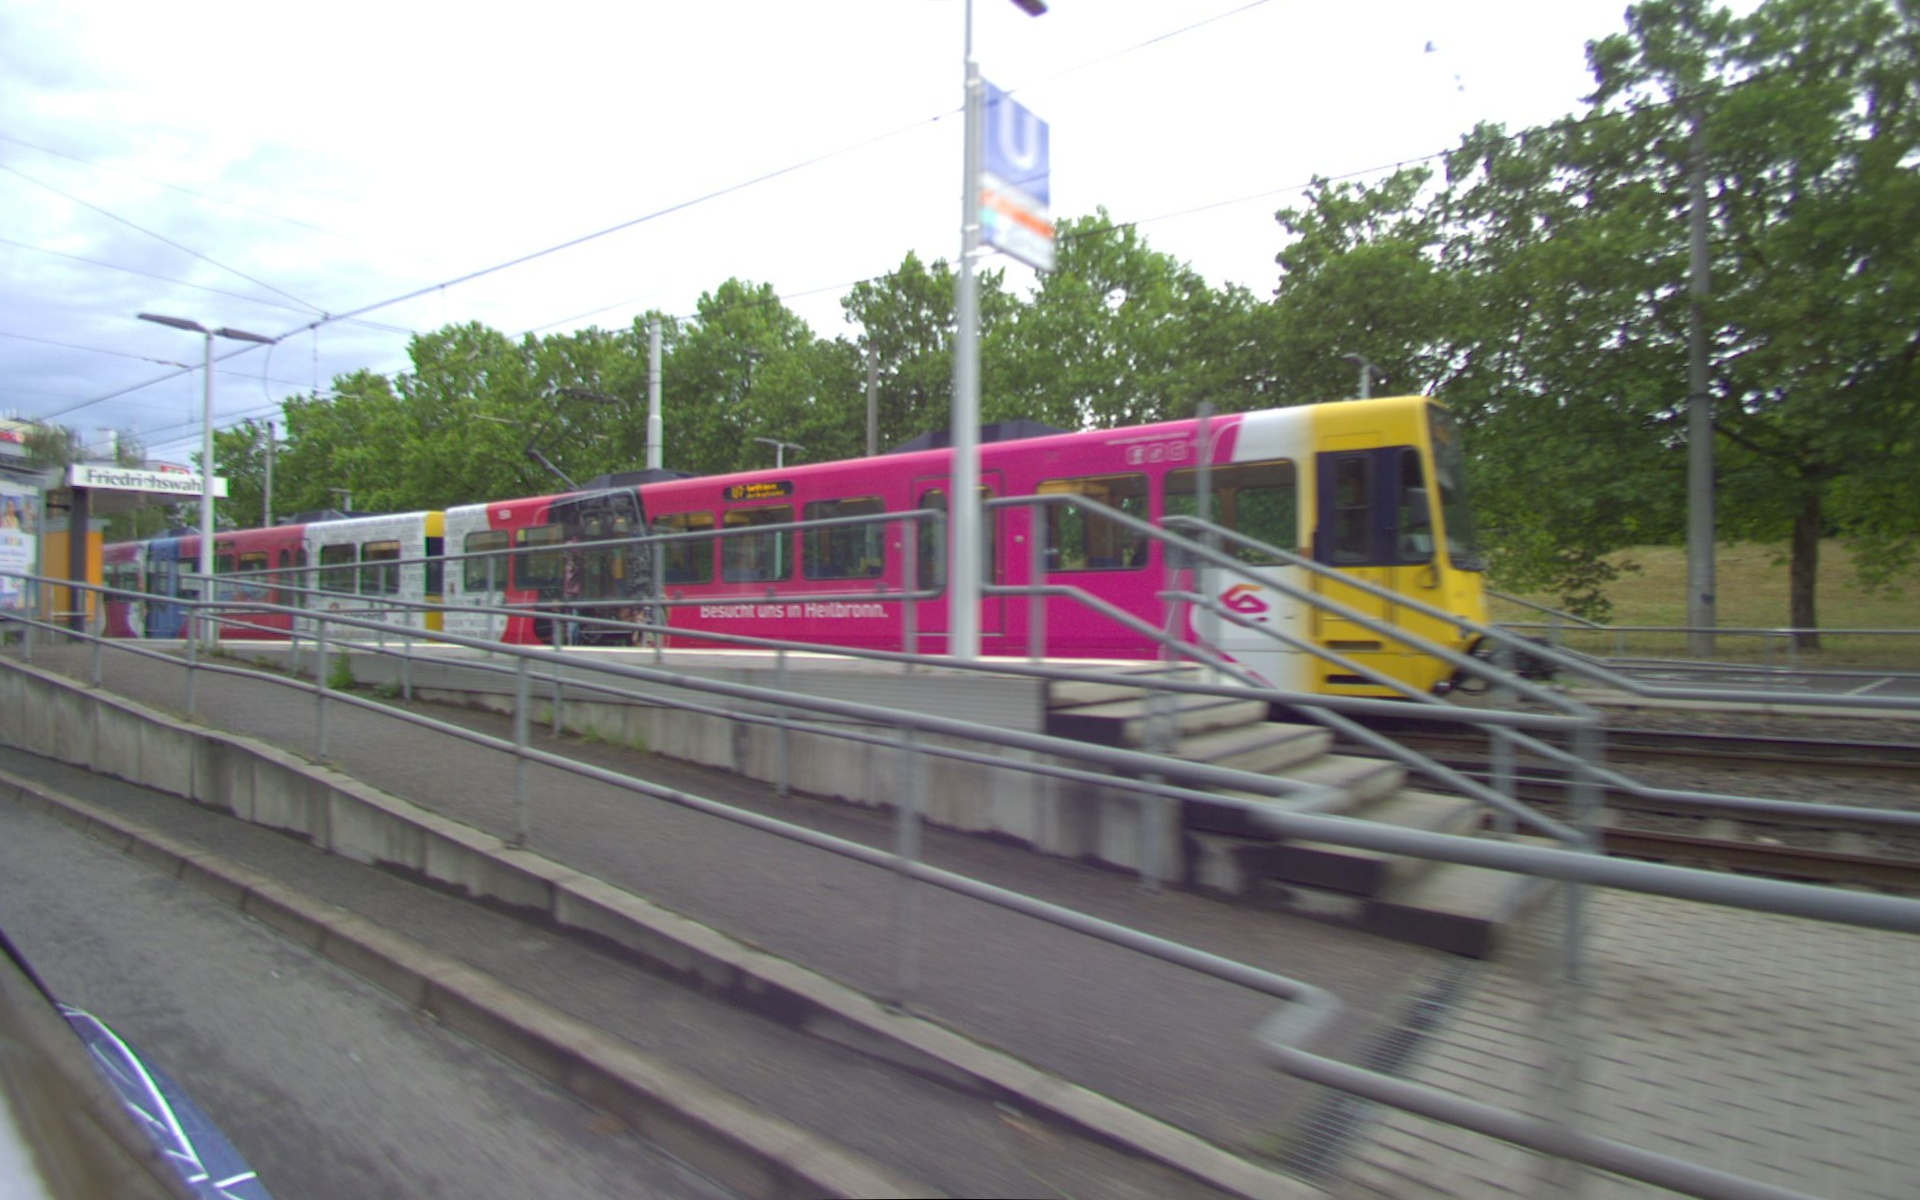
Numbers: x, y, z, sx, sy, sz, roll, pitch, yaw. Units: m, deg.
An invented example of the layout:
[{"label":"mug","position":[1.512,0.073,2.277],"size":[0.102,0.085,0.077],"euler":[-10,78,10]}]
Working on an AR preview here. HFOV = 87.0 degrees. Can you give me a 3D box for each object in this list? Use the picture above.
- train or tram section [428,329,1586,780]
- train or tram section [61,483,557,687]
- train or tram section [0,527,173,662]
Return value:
[{"label":"train or tram section","position":[-1.717,-0.436,15.620],"size":[19.283,3.990,2.844],"euler":[0,2,35]},{"label":"train or tram section","position":[-17.774,-0.318,26.155],"size":[19.267,4.000,2.846],"euler":[0,2,32]},{"label":"train or tram section","position":[-34.377,-0.174,35.954],"size":[19.247,3.983,2.849],"euler":[0,1,29]}]
